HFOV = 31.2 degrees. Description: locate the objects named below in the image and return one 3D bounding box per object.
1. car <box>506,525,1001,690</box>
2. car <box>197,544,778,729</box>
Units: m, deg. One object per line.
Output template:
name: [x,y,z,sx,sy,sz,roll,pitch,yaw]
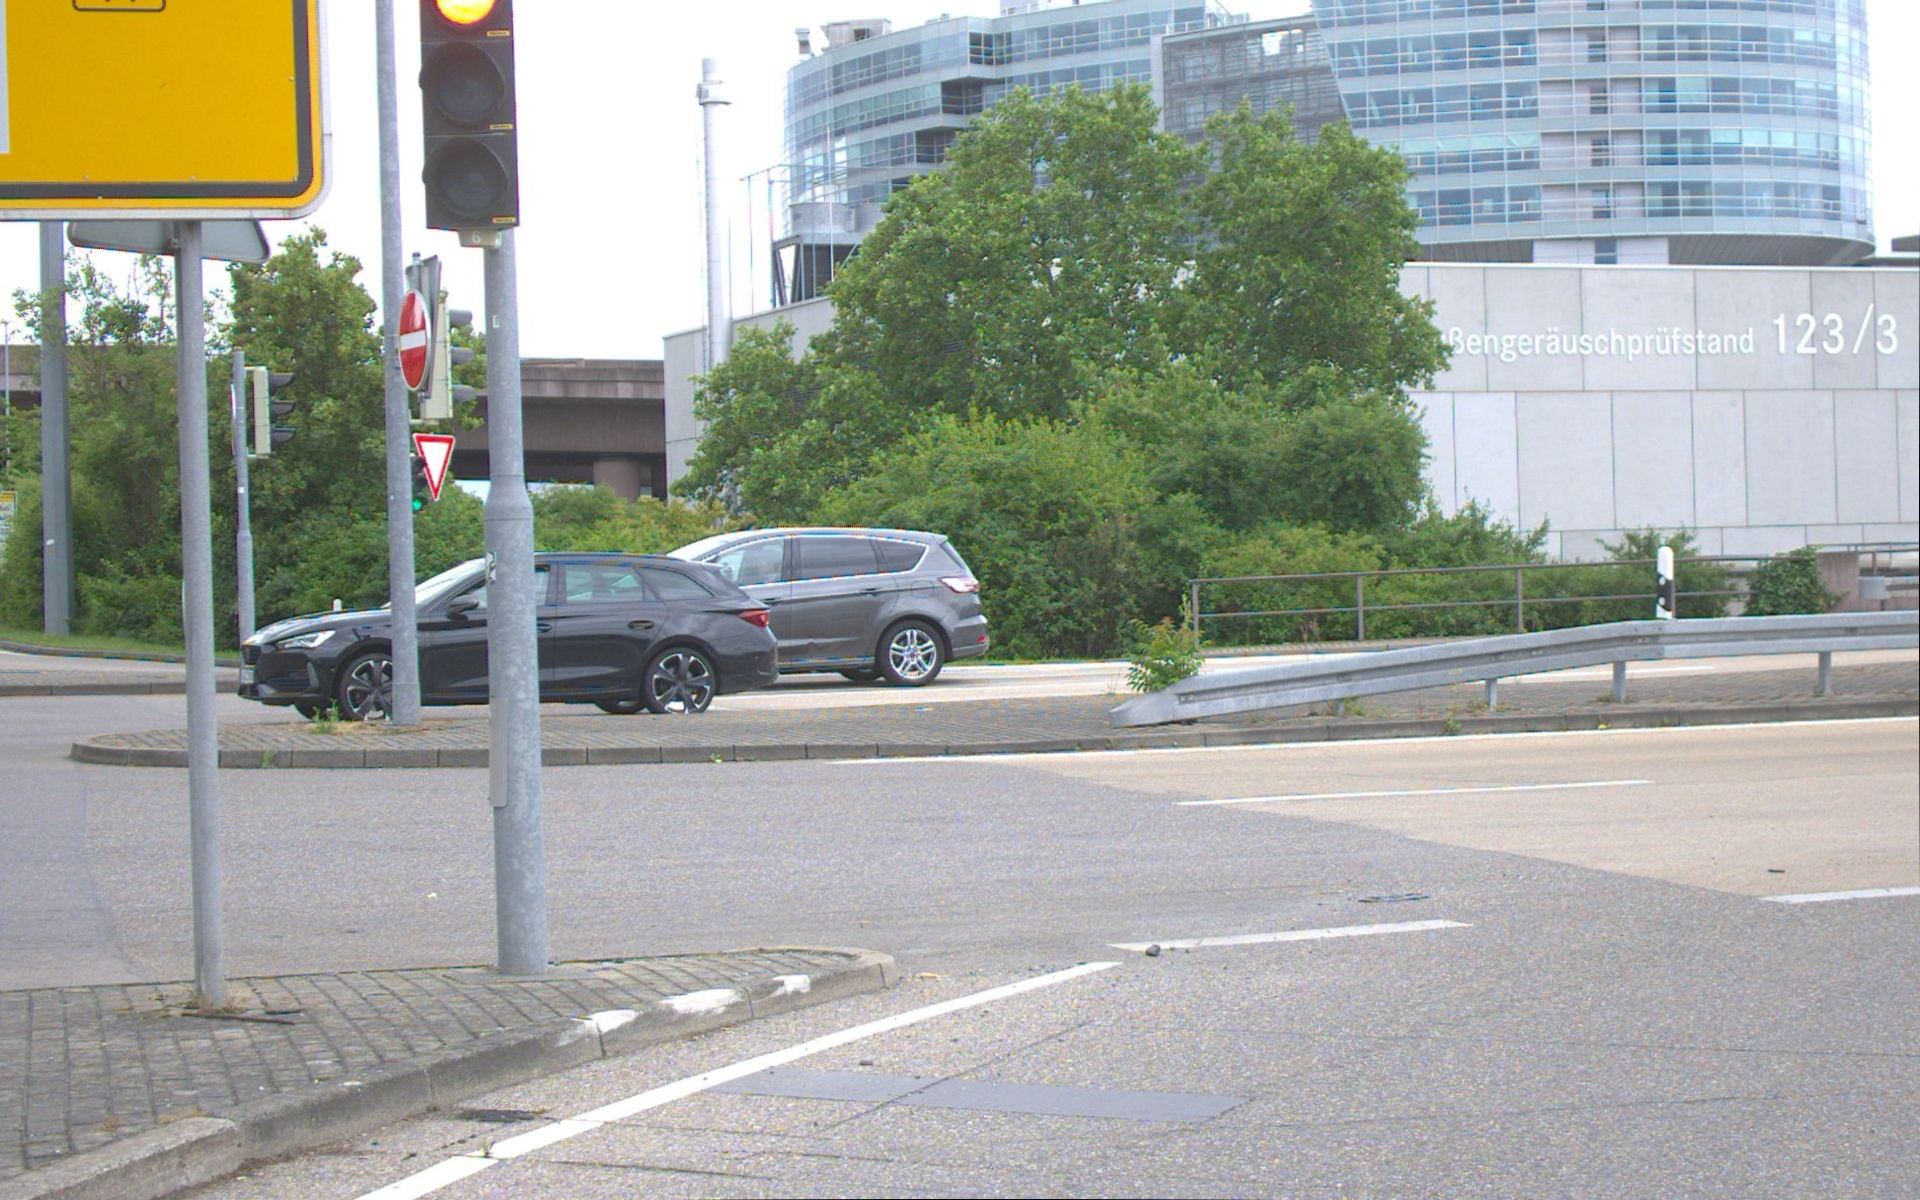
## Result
car: [-2.120,0.037,35.054,4.677,1.566,1.956,-1,2,-20]
car: [-4.078,0.265,29.744,4.604,1.452,1.956,-1,2,-25]
